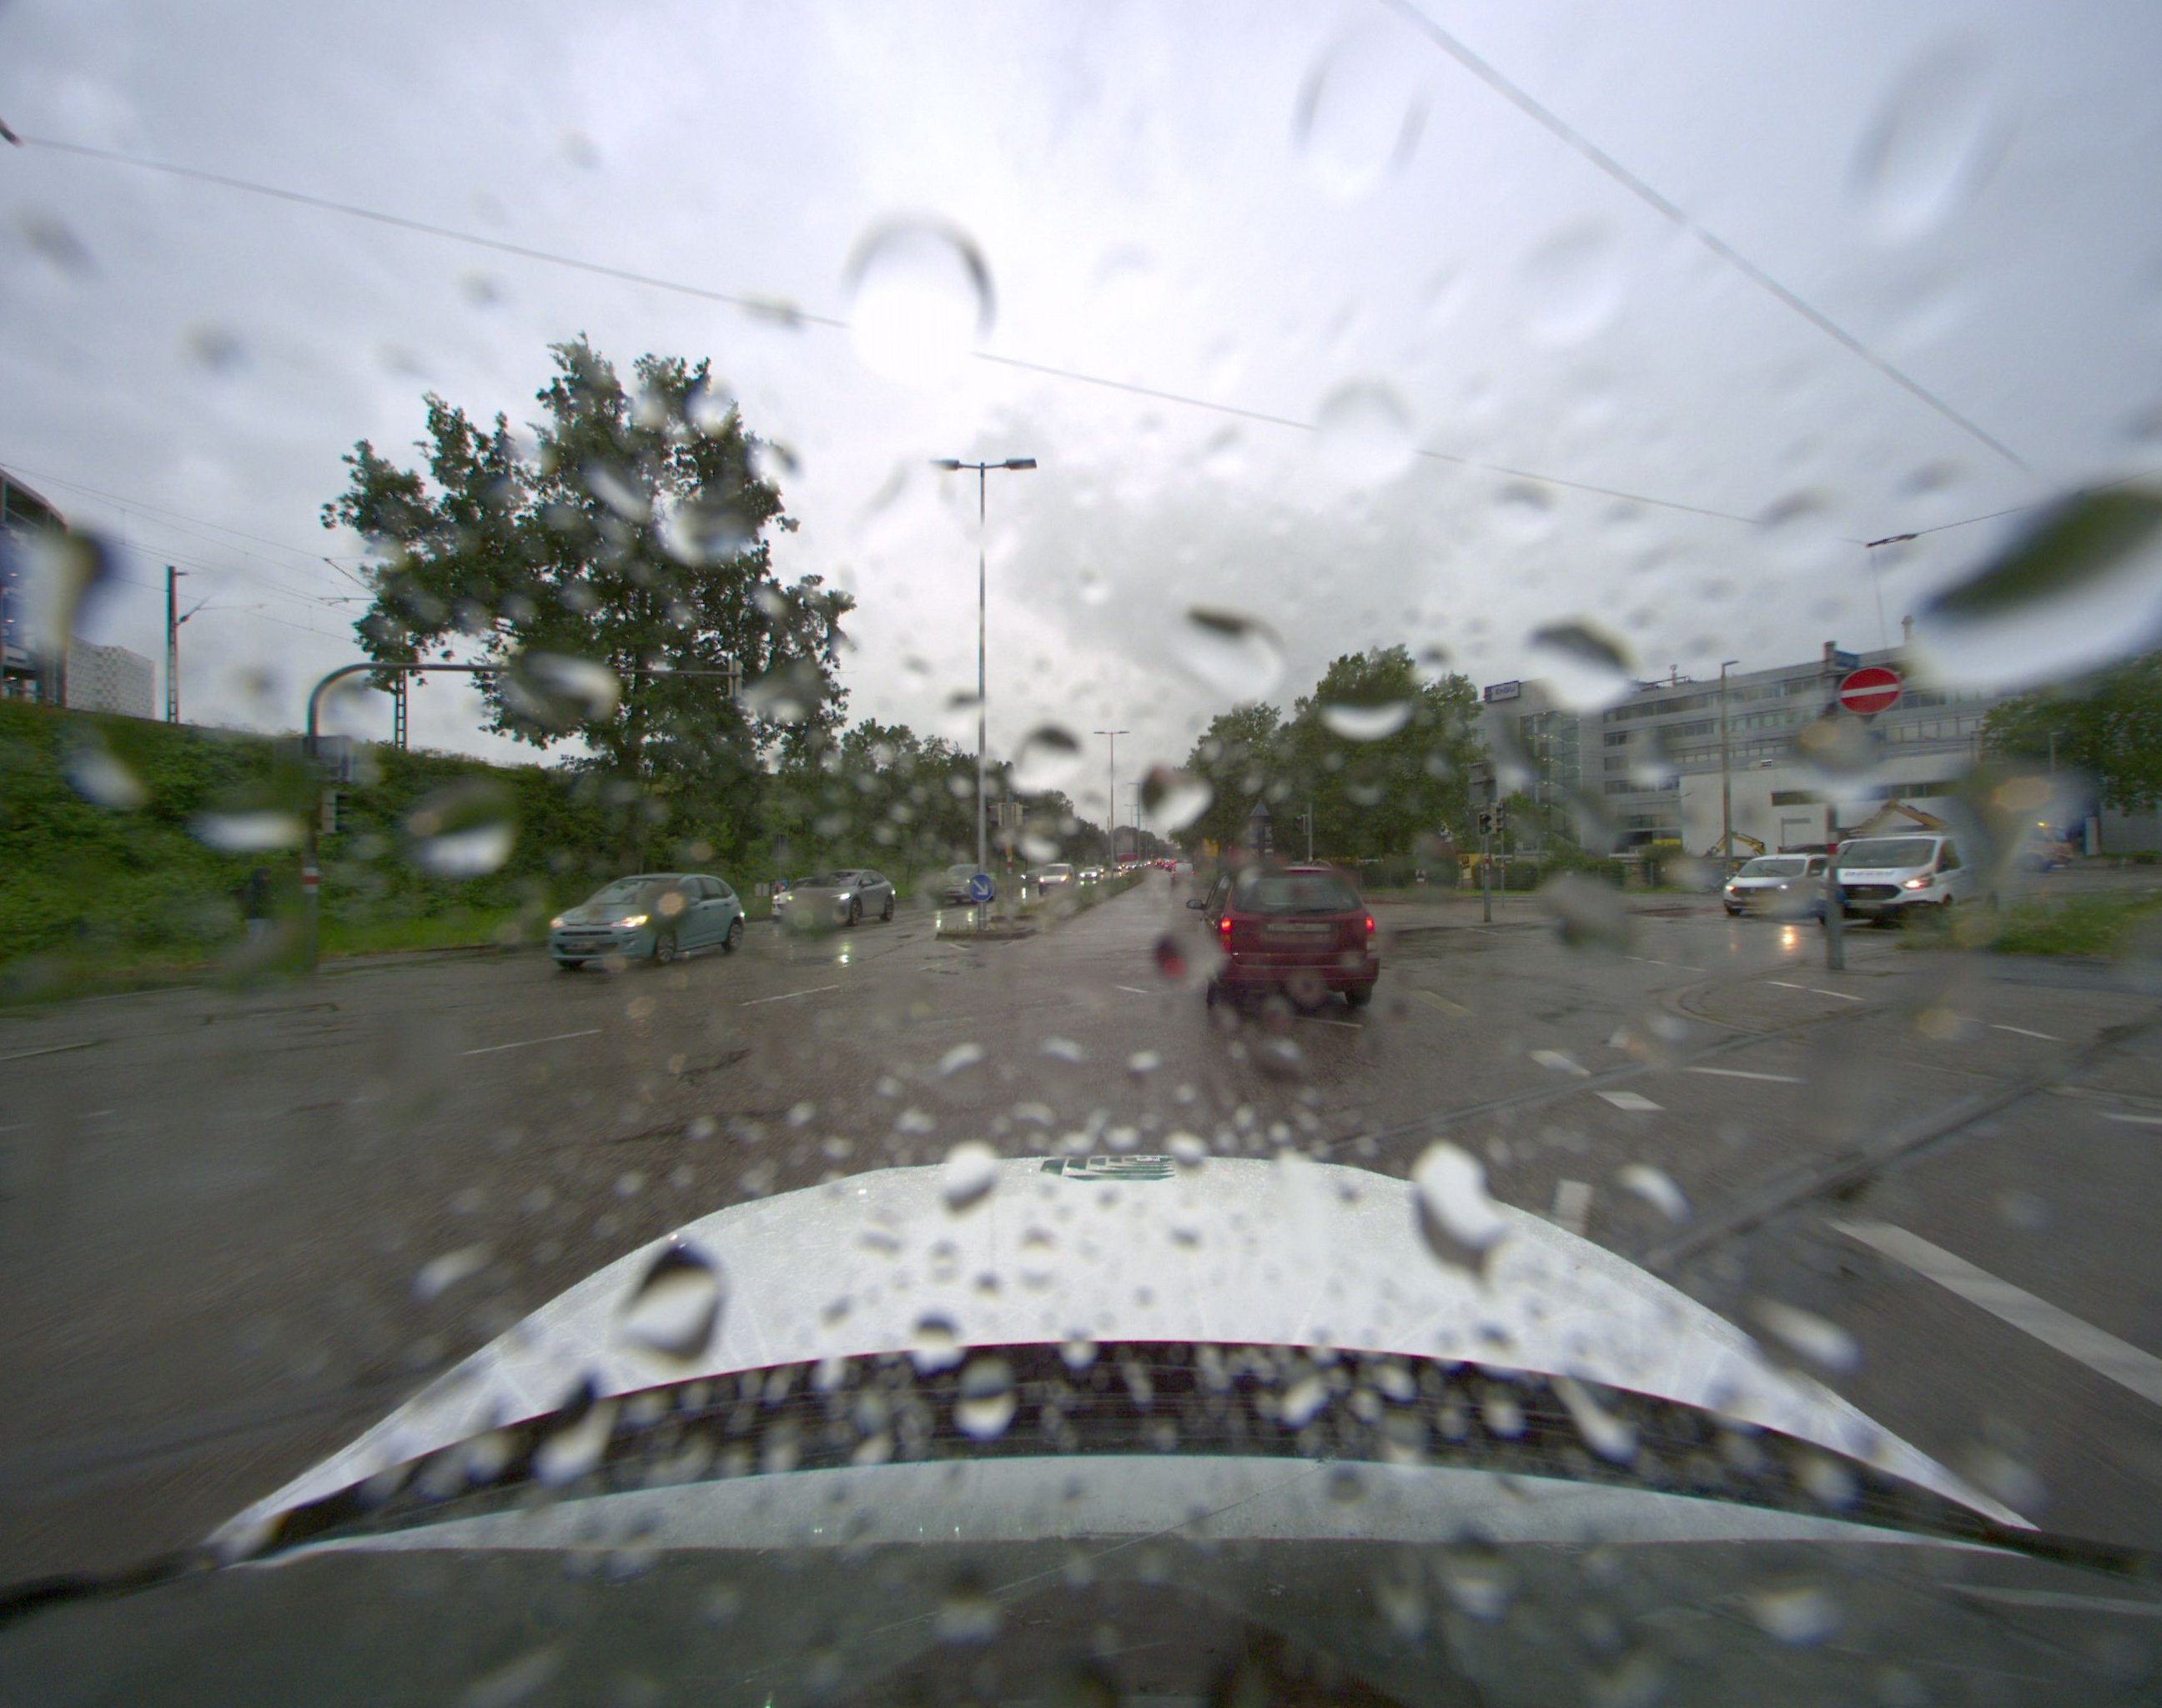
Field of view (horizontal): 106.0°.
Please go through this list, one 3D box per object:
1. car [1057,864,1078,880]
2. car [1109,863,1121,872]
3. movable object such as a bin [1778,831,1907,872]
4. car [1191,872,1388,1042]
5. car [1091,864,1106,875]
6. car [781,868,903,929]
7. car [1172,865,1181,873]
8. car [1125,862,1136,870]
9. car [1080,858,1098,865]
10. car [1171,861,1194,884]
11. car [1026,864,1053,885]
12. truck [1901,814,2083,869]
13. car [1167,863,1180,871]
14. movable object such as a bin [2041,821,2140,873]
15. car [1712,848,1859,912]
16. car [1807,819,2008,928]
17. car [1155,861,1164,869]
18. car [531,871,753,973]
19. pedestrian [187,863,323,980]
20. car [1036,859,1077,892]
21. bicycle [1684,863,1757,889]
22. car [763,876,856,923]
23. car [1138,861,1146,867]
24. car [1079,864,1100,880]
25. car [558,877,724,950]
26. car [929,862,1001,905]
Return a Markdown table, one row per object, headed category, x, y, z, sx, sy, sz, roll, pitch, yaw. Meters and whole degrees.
| category | x | y | z | sx | sy | sz | roll | pitch | yaw |
| --- | --- | --- | --- | --- | --- | --- | --- | --- | --- |
| car | -1.522 | 2.074 | 95.179 | 1.953 | 1.702 | 4.290 | -1 | -1 | 5 |
| car | 6.134 | 2.396 | 145.869 | 1.953 | 1.597 | 4.290 | -1 | -1 | 5 |
| movable object such as a bin | 59.371 | -0.162 | 63.694 | 3.338 | 2.996 | 6.658 | -1 | -1 | -29 |
| car | 2.183 | 0.989 | 9.424 | 1.634 | 1.465 | 3.738 | 1 | 0 | 6 |
| car | 2.786 | 2.467 | 130.057 | 1.953 | 1.597 | 4.290 | -1 | -1 | 5 |
| car | -6.853 | 1.238 | 23.901 | 1.754 | 1.586 | 4.820 | -1 | -1 | 5 |
| car | 18.807 | 2.843 | 159.970 | 1.688 | 1.528 | 3.854 | -1 | -1 | 8 |
| car | 10.024 | 2.445 | 163.177 | 1.953 | 1.597 | 4.291 | -1 | -1 | 6 |
| car | 2.163 | 1.938 | 211.180 | 4.295 | 1.597 | 1.951 | -1 | -1 | -29 |
| car | 7.965 | 1.428 | 64.139 | 1.727 | 1.726 | 4.250 | 1 | -1 | 6 |
| car | -3.679 | 1.783 | 72.507 | 1.735 | 1.702 | 4.290 | 2 | 0 | 5 |
| truck | 63.007 | -0.774 | 56.580 | 3.337 | 3.507 | 7.816 | -1 | -1 | -29 |
| car | 17.460 | 2.443 | 153.476 | 2.135 | 1.528 | 4.202 | -1 | -1 | 9 |
| movable object such as a bin | 72.022 | -0.464 | 58.097 | 6.338 | 3.507 | 3.297 | -1 | -1 | -29 |
| car | 19.692 | 0.670 | 22.730 | 4.395 | 1.621 | 1.759 | 0 | -1 | -30 |
| car | 18.154 | 0.402 | 17.850 | 4.703 | 2.125 | 1.980 | 0 | -2 | -31 |
| car | 16.298 | 2.234 | 168.530 | 1.688 | 1.528 | 3.854 | -1 | -1 | 8 |
| car | -7.409 | 1.068 | 14.238 | 1.632 | 1.473 | 3.965 | -1 | -1 | 1 |
| pedestrian | -13.734 | 1.080 | 13.600 | 1.100 | 1.847 | 1.128 | -1 | -1 | -5 |
| car | -1.342 | 1.192 | 46.342 | 1.735 | 1.702 | 4.290 | -2 | -1 | 5 |
| bicycle | 27.451 | 0.952 | 35.007 | 2.285 | 1.046 | 0.854 | -2 | -1 | 26 |
| car | -9.267 | 1.526 | 28.106 | 1.583 | 1.404 | 3.829 | -1 | -1 | 5 |
| car | 15.554 | 2.588 | 208.230 | 1.953 | 1.597 | 4.291 | -1 | -1 | 6 |
| car | 0.942 | 1.966 | 91.373 | 1.953 | 1.702 | 4.290 | -1 | -1 | 5 |
| car | -10.254 | 1.329 | 19.313 | 1.630 | 1.452 | 3.792 | -1 | -1 | 4 |
| car | -5.326 | 1.301 | 38.118 | 2.055 | 1.819 | 5.549 | -1 | -1 | 5 |
